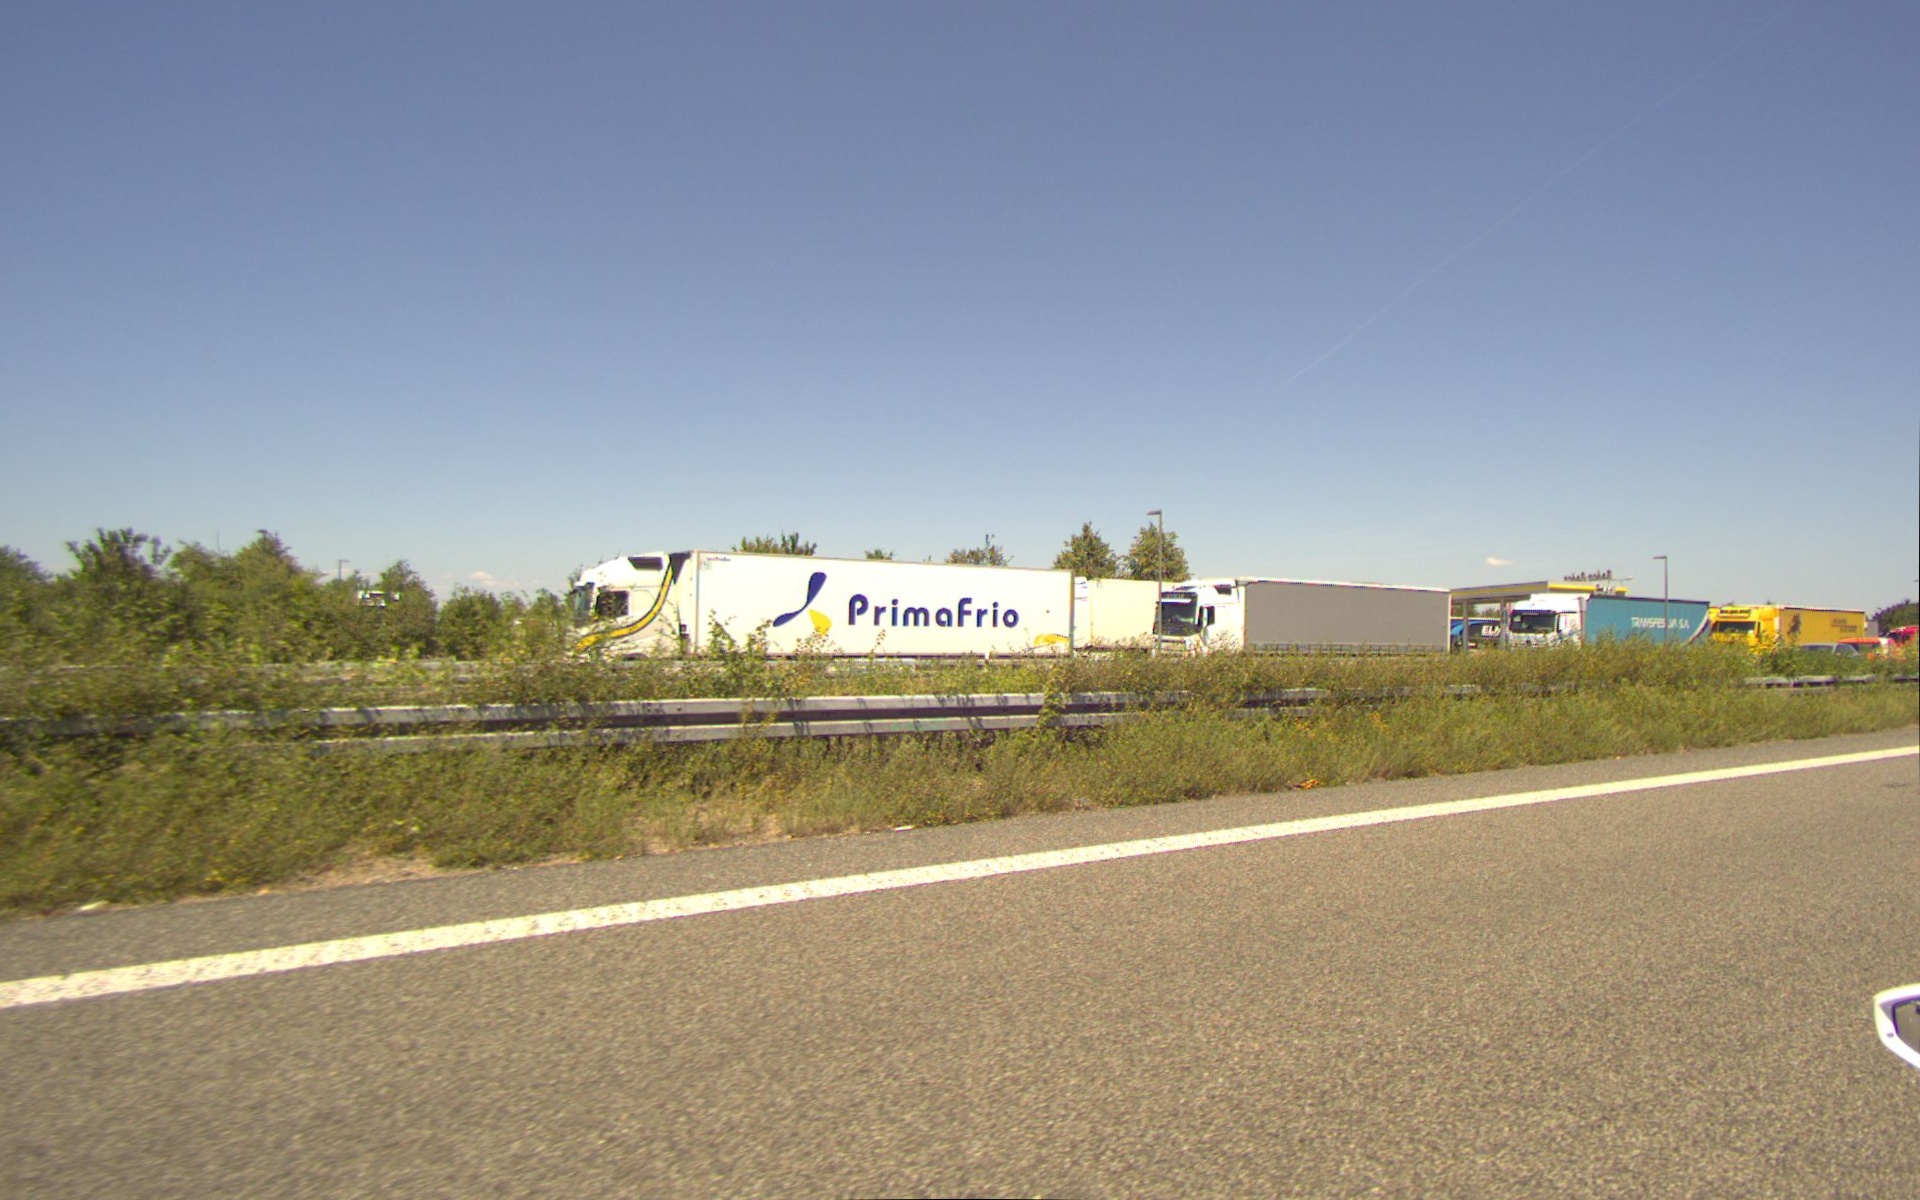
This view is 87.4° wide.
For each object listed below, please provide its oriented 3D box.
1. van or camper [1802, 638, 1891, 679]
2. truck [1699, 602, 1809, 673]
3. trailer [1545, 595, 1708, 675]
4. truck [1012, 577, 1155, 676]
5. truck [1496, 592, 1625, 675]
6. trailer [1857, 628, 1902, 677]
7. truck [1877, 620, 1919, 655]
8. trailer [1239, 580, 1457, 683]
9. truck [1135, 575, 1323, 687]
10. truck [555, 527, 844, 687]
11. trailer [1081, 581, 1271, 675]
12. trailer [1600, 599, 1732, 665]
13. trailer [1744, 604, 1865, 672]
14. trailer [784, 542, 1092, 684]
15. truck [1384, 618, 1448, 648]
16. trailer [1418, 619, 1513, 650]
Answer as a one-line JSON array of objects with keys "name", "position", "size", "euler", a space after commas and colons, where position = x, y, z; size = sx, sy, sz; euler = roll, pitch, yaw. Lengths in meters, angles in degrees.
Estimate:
[{"name": "van or camper", "position": [42.983, 2.826, 48.679], "size": [4.690, 1.863, 1.887], "euler": [2, -1, -30]}, {"name": "truck", "position": [50.699, 2.391, 64.102], "size": [7.826, 4.256, 2.819], "euler": [2, 0, -31]}, {"name": "trailer", "position": [38.042, 1.991, 57.132], "size": [11.945, 4.204, 2.819], "euler": [2, 0, -31]}, {"name": "truck", "position": [5.445, 1.148, 44.130], "size": [5.677, 4.059, 2.683], "euler": [2, 0, -30]}, {"name": "truck", "position": [32.019, 1.753, 53.501], "size": [7.008, 4.127, 2.835], "euler": [2, 0, -31]}, {"name": "trailer", "position": [46.685, 2.657, 50.986], "size": [1.975, 2.400, 1.162], "euler": [1, -1, -30]}, {"name": "truck", "position": [118.374, 4.664, 124.290], "size": [6.511, 4.103, 3.129], "euler": [2, 0, 5]}, {"name": "trailer", "position": [17.573, 1.395, 45.093], "size": [10.891, 4.213, 3.097], "euler": [2, 0, -31]}, {"name": "truck", "position": [11.055, 1.252, 41.061], "size": [7.419, 4.213, 3.100], "euler": [2, 0, -31]}, {"name": "truck", "position": [-7.581, 0.276, 29.738], "size": [7.843, 4.244, 2.569], "euler": [2, 0, -30]}, {"name": "trailer", "position": [10.213, 1.293, 46.937], "size": [9.199, 4.059, 2.682], "euler": [2, 0, -30]}, {"name": "trailer", "position": [48.348, 2.203, 68.679], "size": [10.948, 4.204, 2.821], "euler": [2, 0, -29]}, {"name": "trailer", "position": [57.417, 2.582, 68.152], "size": [10.956, 4.276, 2.819], "euler": [2, 0, -31]}, {"name": "trailer", "position": [-0.503, 0.496, 33.933], "size": [10.392, 4.275, 2.586], "euler": [2, 0, -31]}, {"name": "truck", "position": [59.555, 4.314, 131.376], "size": [6.931, 3.536, 2.983], "euler": [2, 0, 0]}, {"name": "trailer", "position": [66.042, 4.510, 131.361], "size": [10.845, 3.568, 3.003], "euler": [2, 0, 0]}]
